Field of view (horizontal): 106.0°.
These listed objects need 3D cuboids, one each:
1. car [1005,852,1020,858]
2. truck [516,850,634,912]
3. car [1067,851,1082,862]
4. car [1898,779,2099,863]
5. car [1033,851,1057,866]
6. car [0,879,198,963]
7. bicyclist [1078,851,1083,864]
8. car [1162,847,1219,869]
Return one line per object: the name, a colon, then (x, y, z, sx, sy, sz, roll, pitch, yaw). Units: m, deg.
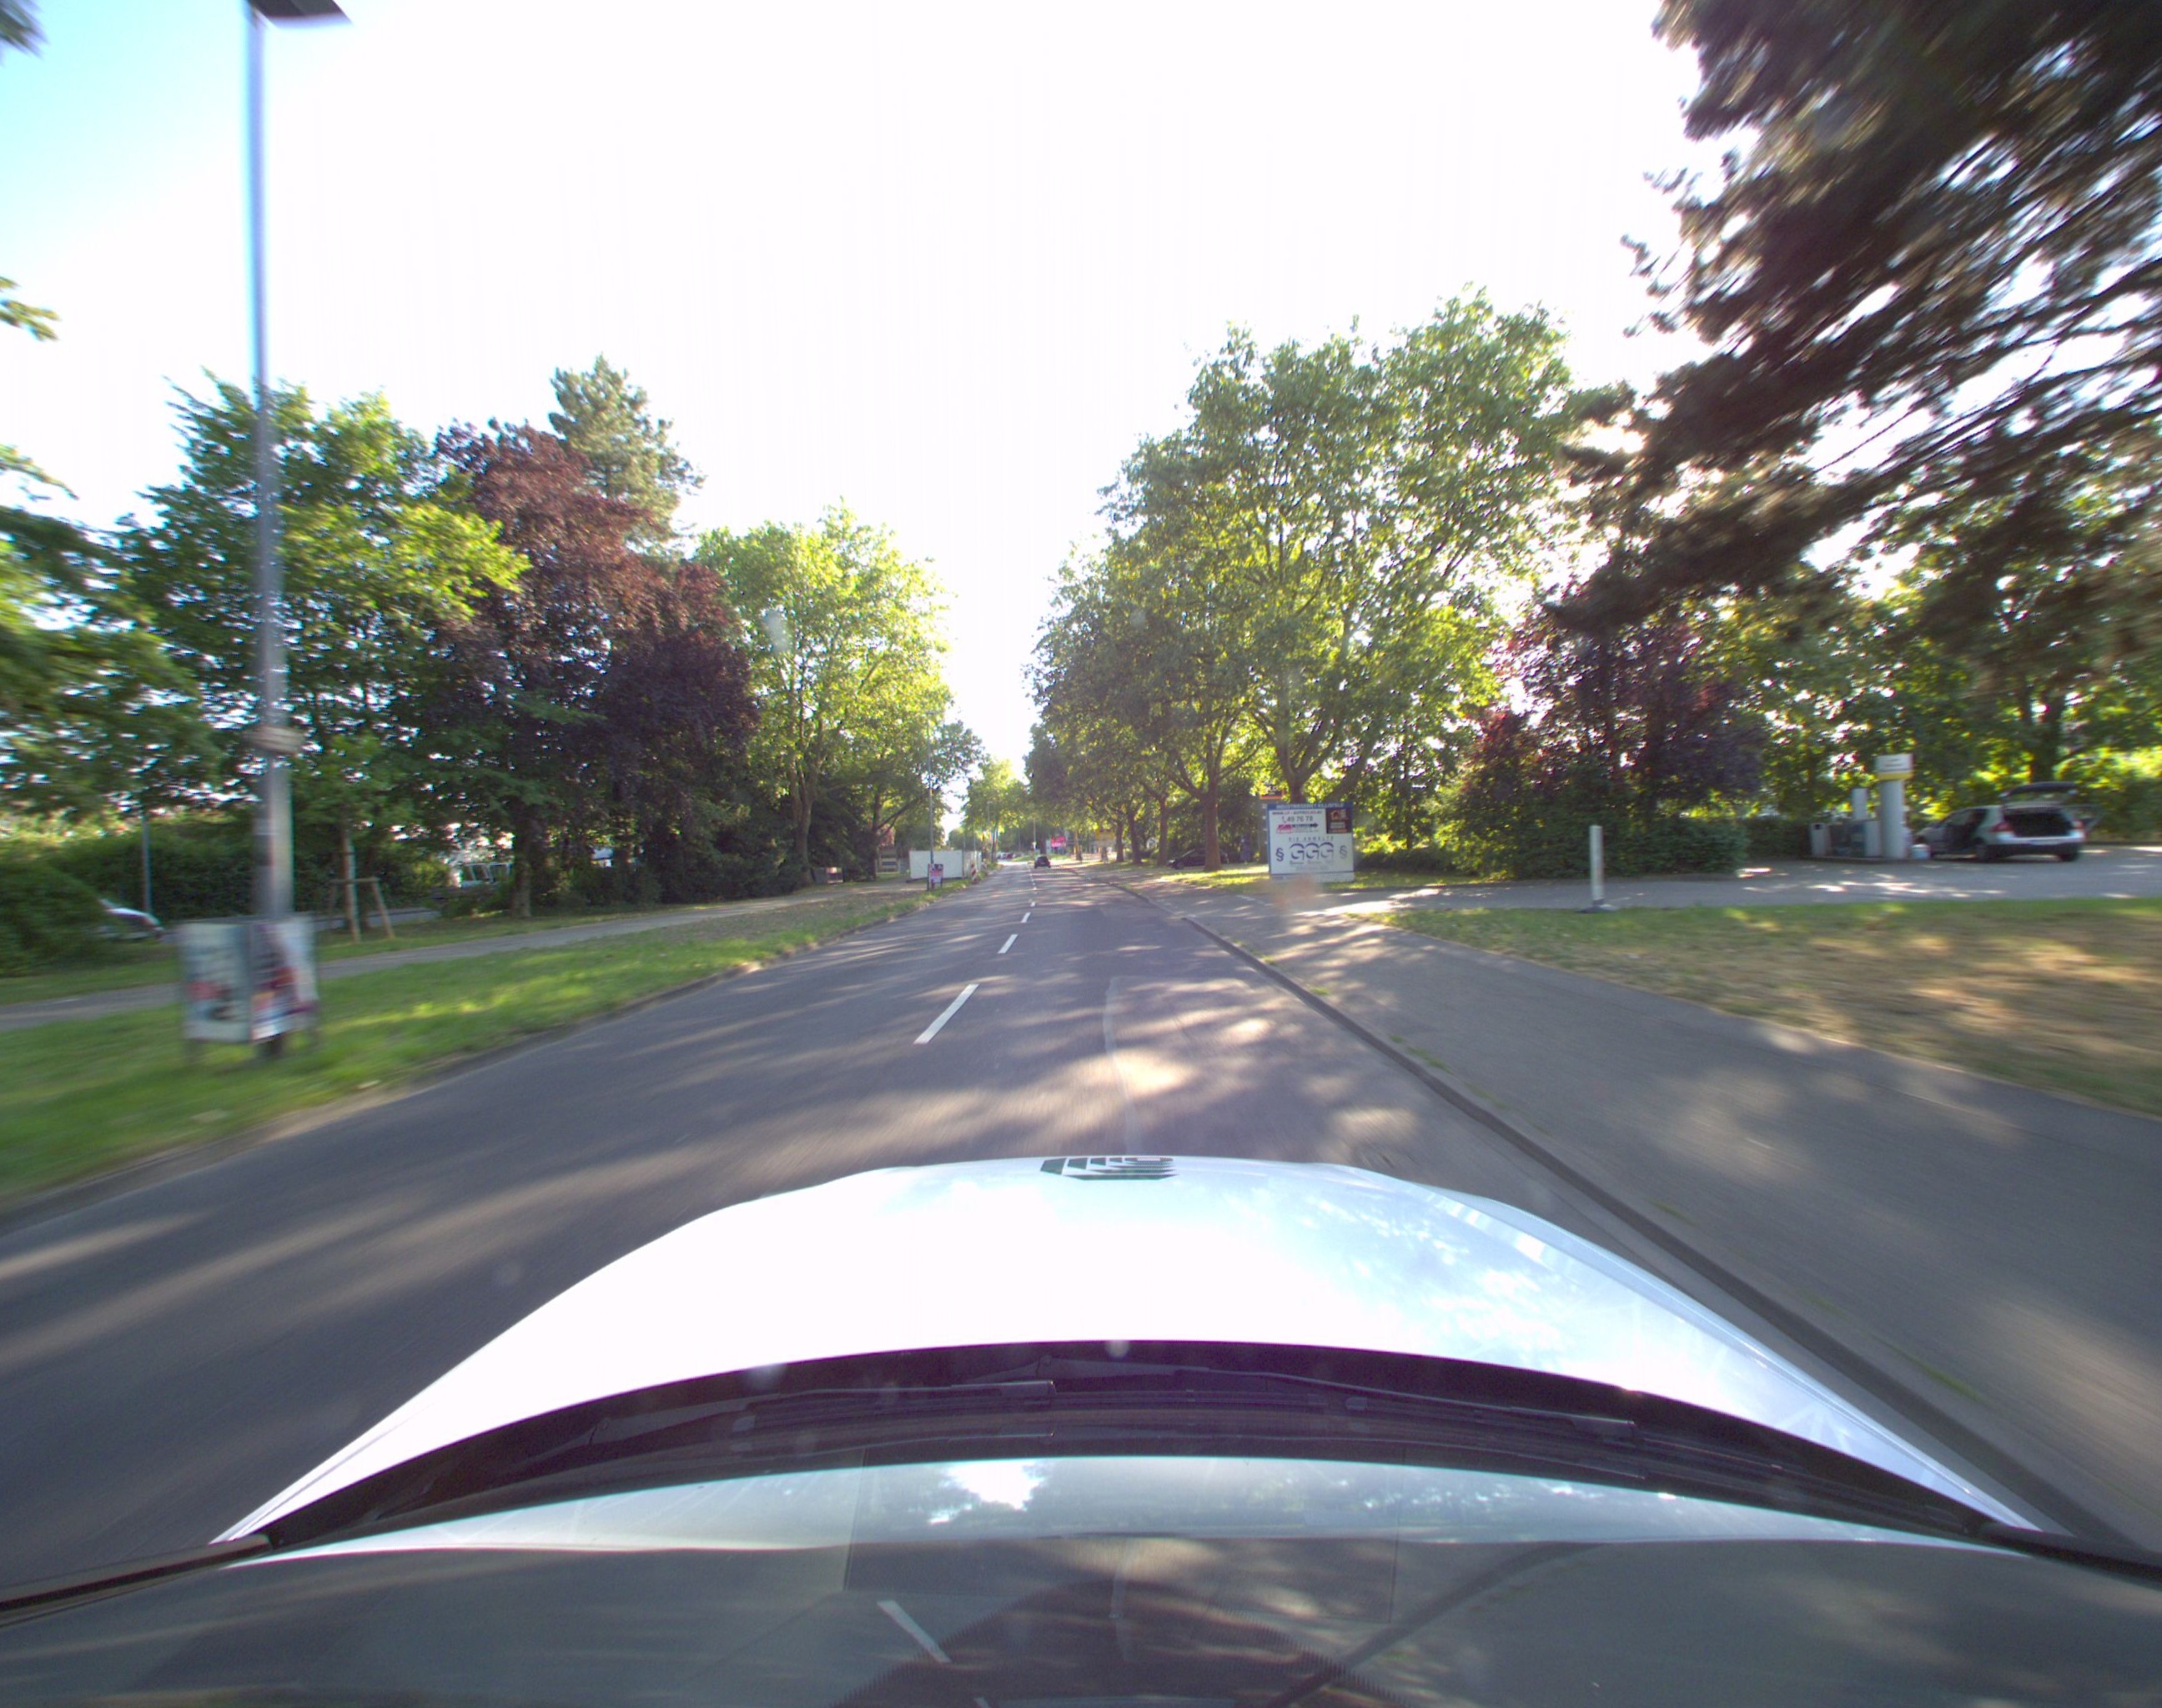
car: (-19.803, 0.390, 234.609, 4.016, 1.747, 1.776, -1, 0, -34)
truck: (-21.585, 1.074, 34.938, 2.067, 2.419, 4.011, -3, 0, 9)
car: (-1.170, 0.450, 153.344, 1.980, 2.013, 4.014, -2, 0, 12)
car: (24.172, -0.877, 21.694, 1.834, 1.936, 4.021, -3, 1, 20)
car: (-3.954, 0.507, 90.684, 1.828, 1.605, 3.874, -3, 0, 10)
car: (-22.095, 1.423, 17.479, 3.979, 1.601, 1.927, -2, -1, -4)
bicyclist: (-0.061, 0.489, 113.830, 0.649, 1.705, 0.870, -1, 0, -4)
car: (8.272, 0.284, 61.596, 3.976, 1.443, 1.760, -3, 0, -2)
